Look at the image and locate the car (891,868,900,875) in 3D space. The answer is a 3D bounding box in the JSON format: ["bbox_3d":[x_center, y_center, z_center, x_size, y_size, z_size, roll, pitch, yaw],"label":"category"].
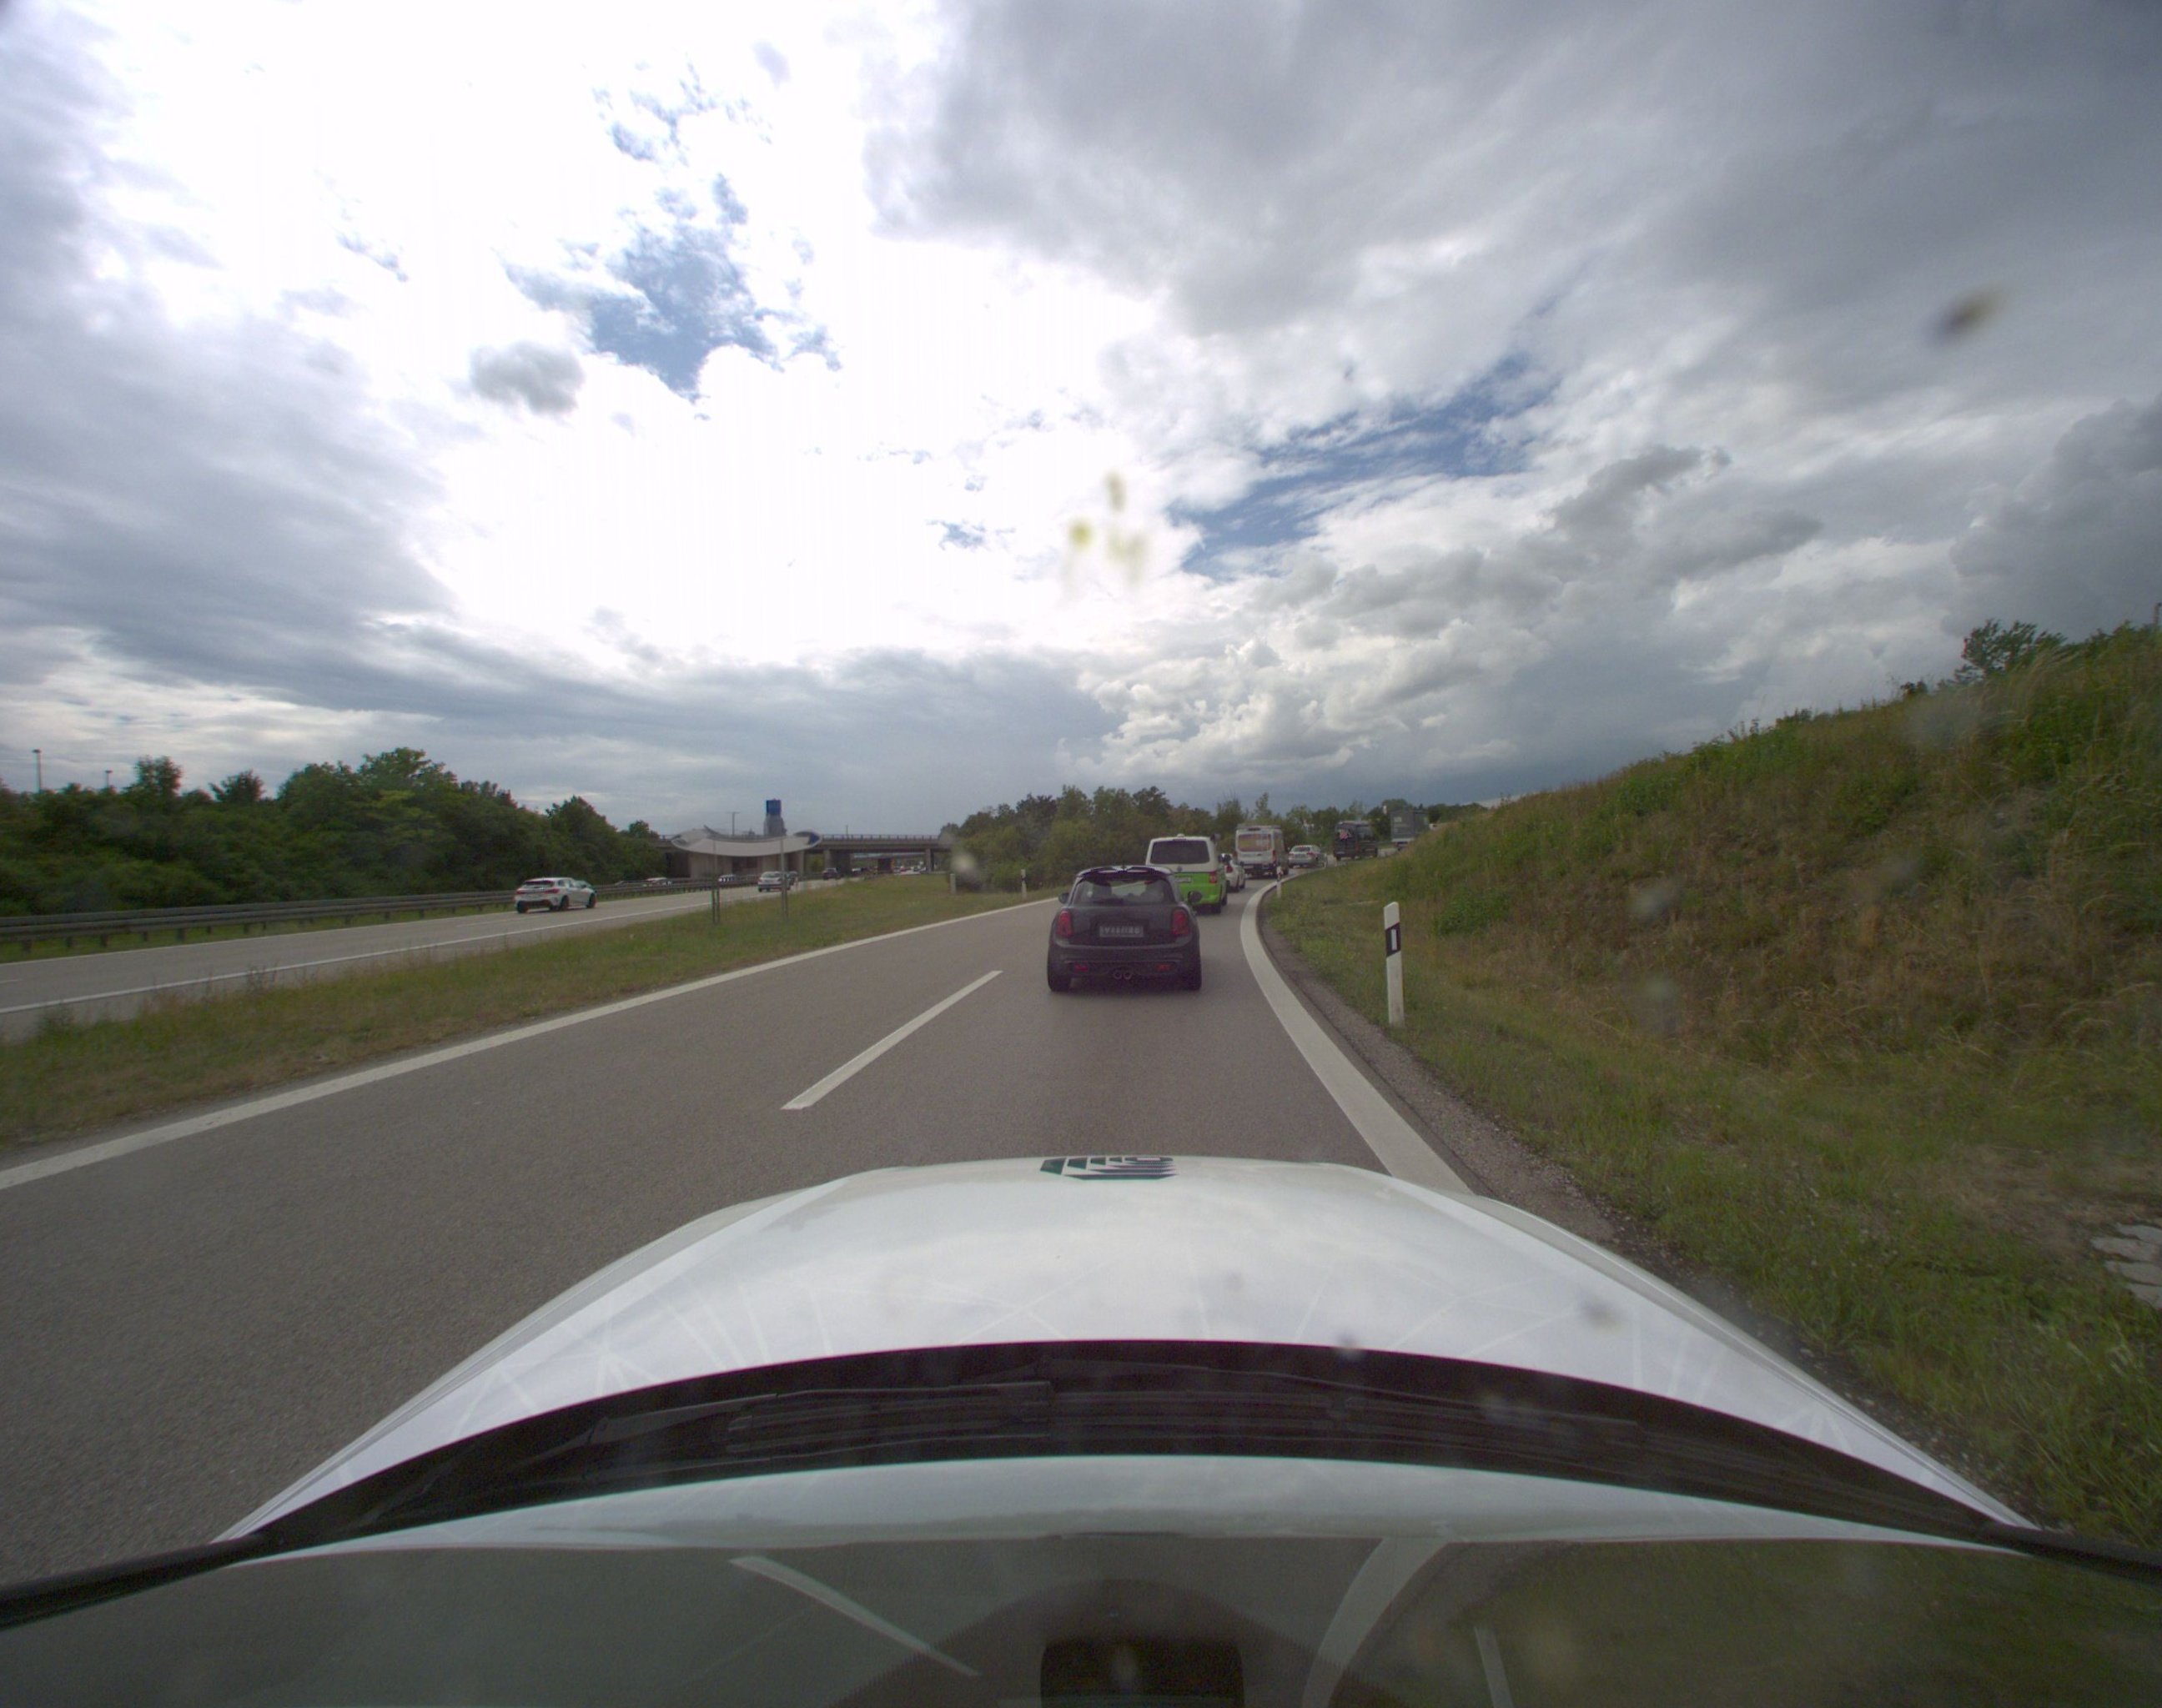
[{"bbox_3d":[-46.925,4.470,206.074,1.876,1.751,4.473,-2,-1,-9],"label":"car"}]

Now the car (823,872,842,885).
[{"bbox_3d":[-35.542,3.507,116.661,1.994,1.743,4.812,-3,-1,-10],"label":"car"}]

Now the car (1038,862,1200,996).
[{"bbox_3d":[0.596,0.826,10.585,1.718,1.413,3.731,-1,-1,6],"label":"car"}]

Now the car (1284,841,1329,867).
[{"bbox_3d":[14.354,0.010,51.763,1.848,1.510,4.024,-2,-1,29],"label":"car"}]

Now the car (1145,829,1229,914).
[{"bbox_3d":[2.876,0.447,21.434,1.772,2.014,4.014,-1,-1,13],"label":"car"}]

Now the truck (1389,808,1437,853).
[{"bbox_3d":[30.799,-2.074,75.371,2.207,3.907,6.053,-2,-2,41],"label":"truck"}]

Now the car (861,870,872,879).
[{"bbox_3d":[-43.171,4.147,164.075,1.845,1.758,4.321,-2,-1,-10],"label":"car"}]

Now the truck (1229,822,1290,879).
[{"bbox_3d":[9.126,-0.206,41.233,2.159,2.658,5.136,-2,0,21],"label":"truck"}]

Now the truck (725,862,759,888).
[{"bbox_3d":[-49.892,3.090,120.236,2.759,3.646,8.169,-2,-1,-10],"label":"truck"}]

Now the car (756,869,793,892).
[{"bbox_3d":[-22.339,1.926,59.482,1.717,1.519,3.986,-2,-1,-10],"label":"car"}]

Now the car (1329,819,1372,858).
[{"bbox_3d":[20.045,-1.124,60.508,2.084,2.796,4.025,-1,0,33],"label":"car"}]

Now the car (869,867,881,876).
[{"bbox_3d":[-46.063,3.879,182.138,1.993,1.810,3.987,-2,-1,-9],"label":"car"}]

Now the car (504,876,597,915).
[{"bbox_3d":[-22.915,1.747,35.398,1.837,1.453,4.361,-2,-1,-11],"label":"car"}]

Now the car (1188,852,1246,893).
[{"bbox_3d":[5.163,0.676,30.525,1.749,1.399,3.740,-2,-1,15],"label":"car"}]

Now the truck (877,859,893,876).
[{"bbox_3d":[-39.271,2.741,163.439,2.468,3.371,7.895,-3,-1,-10],"label":"truck"}]
